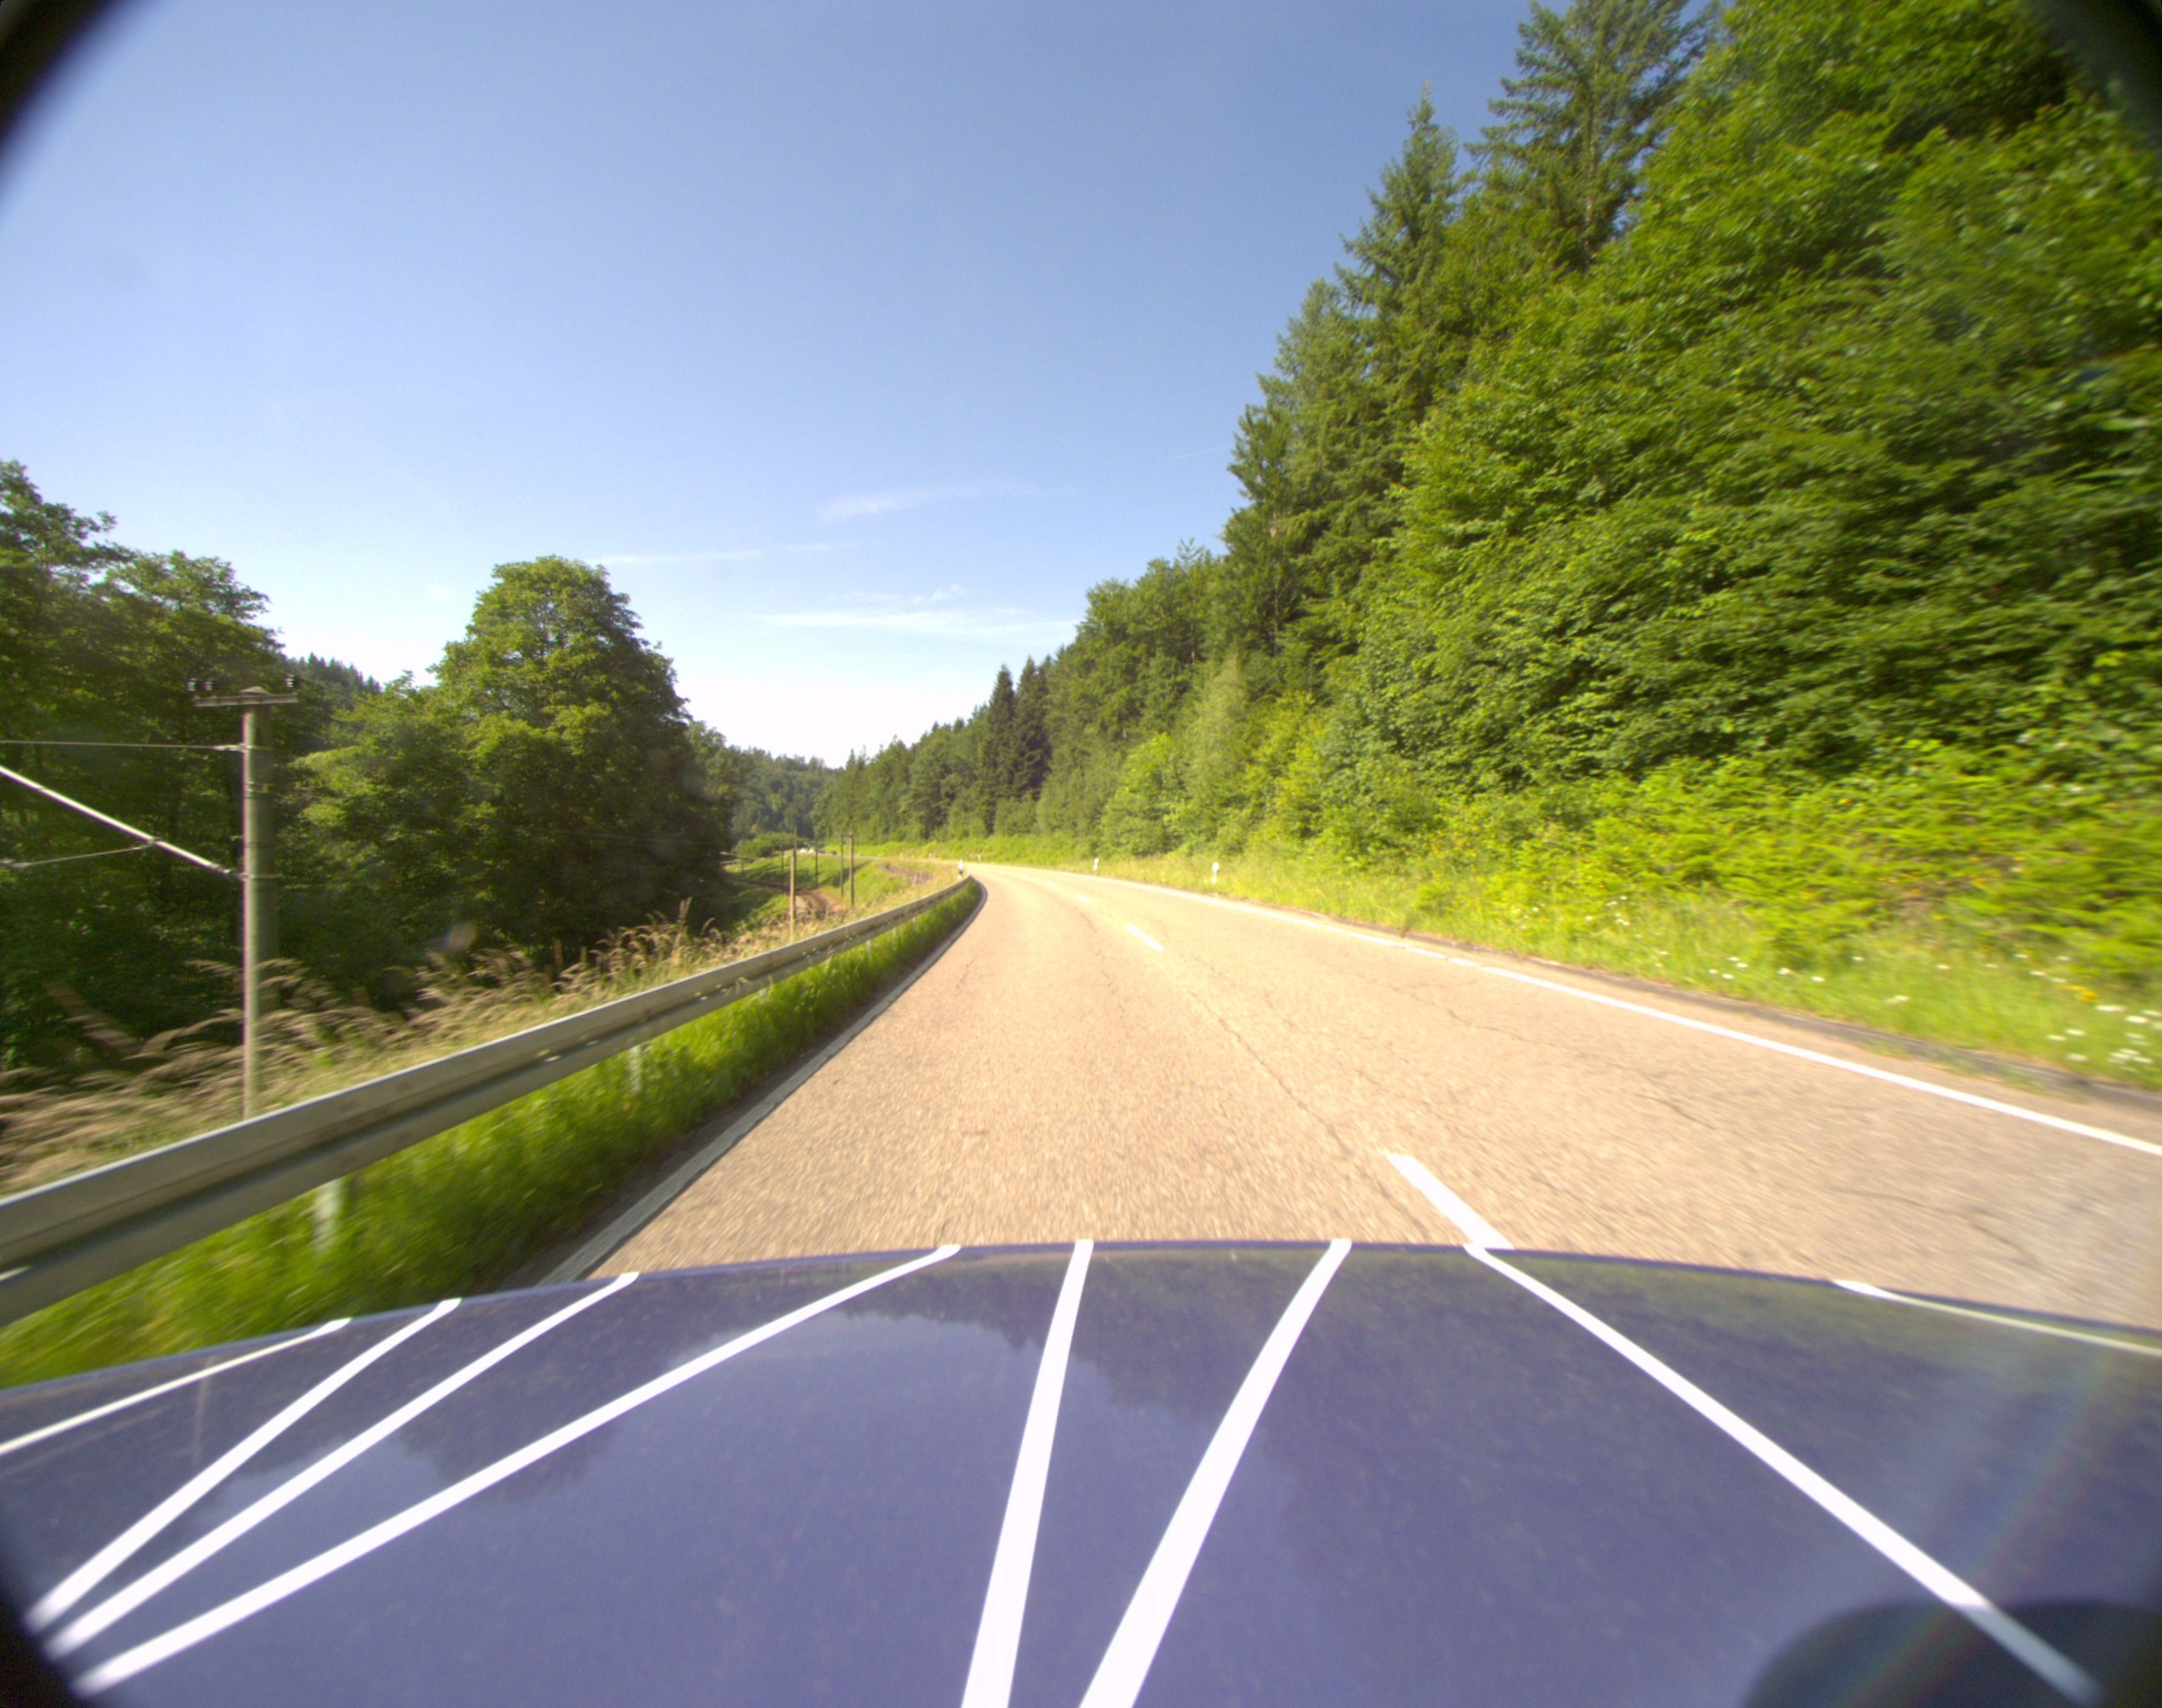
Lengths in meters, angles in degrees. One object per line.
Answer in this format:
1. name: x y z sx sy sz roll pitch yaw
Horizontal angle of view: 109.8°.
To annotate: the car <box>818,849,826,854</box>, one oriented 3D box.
1. car: -78.458 -0.722 230.355 1.840 1.619 4.343 -2 1 -24
